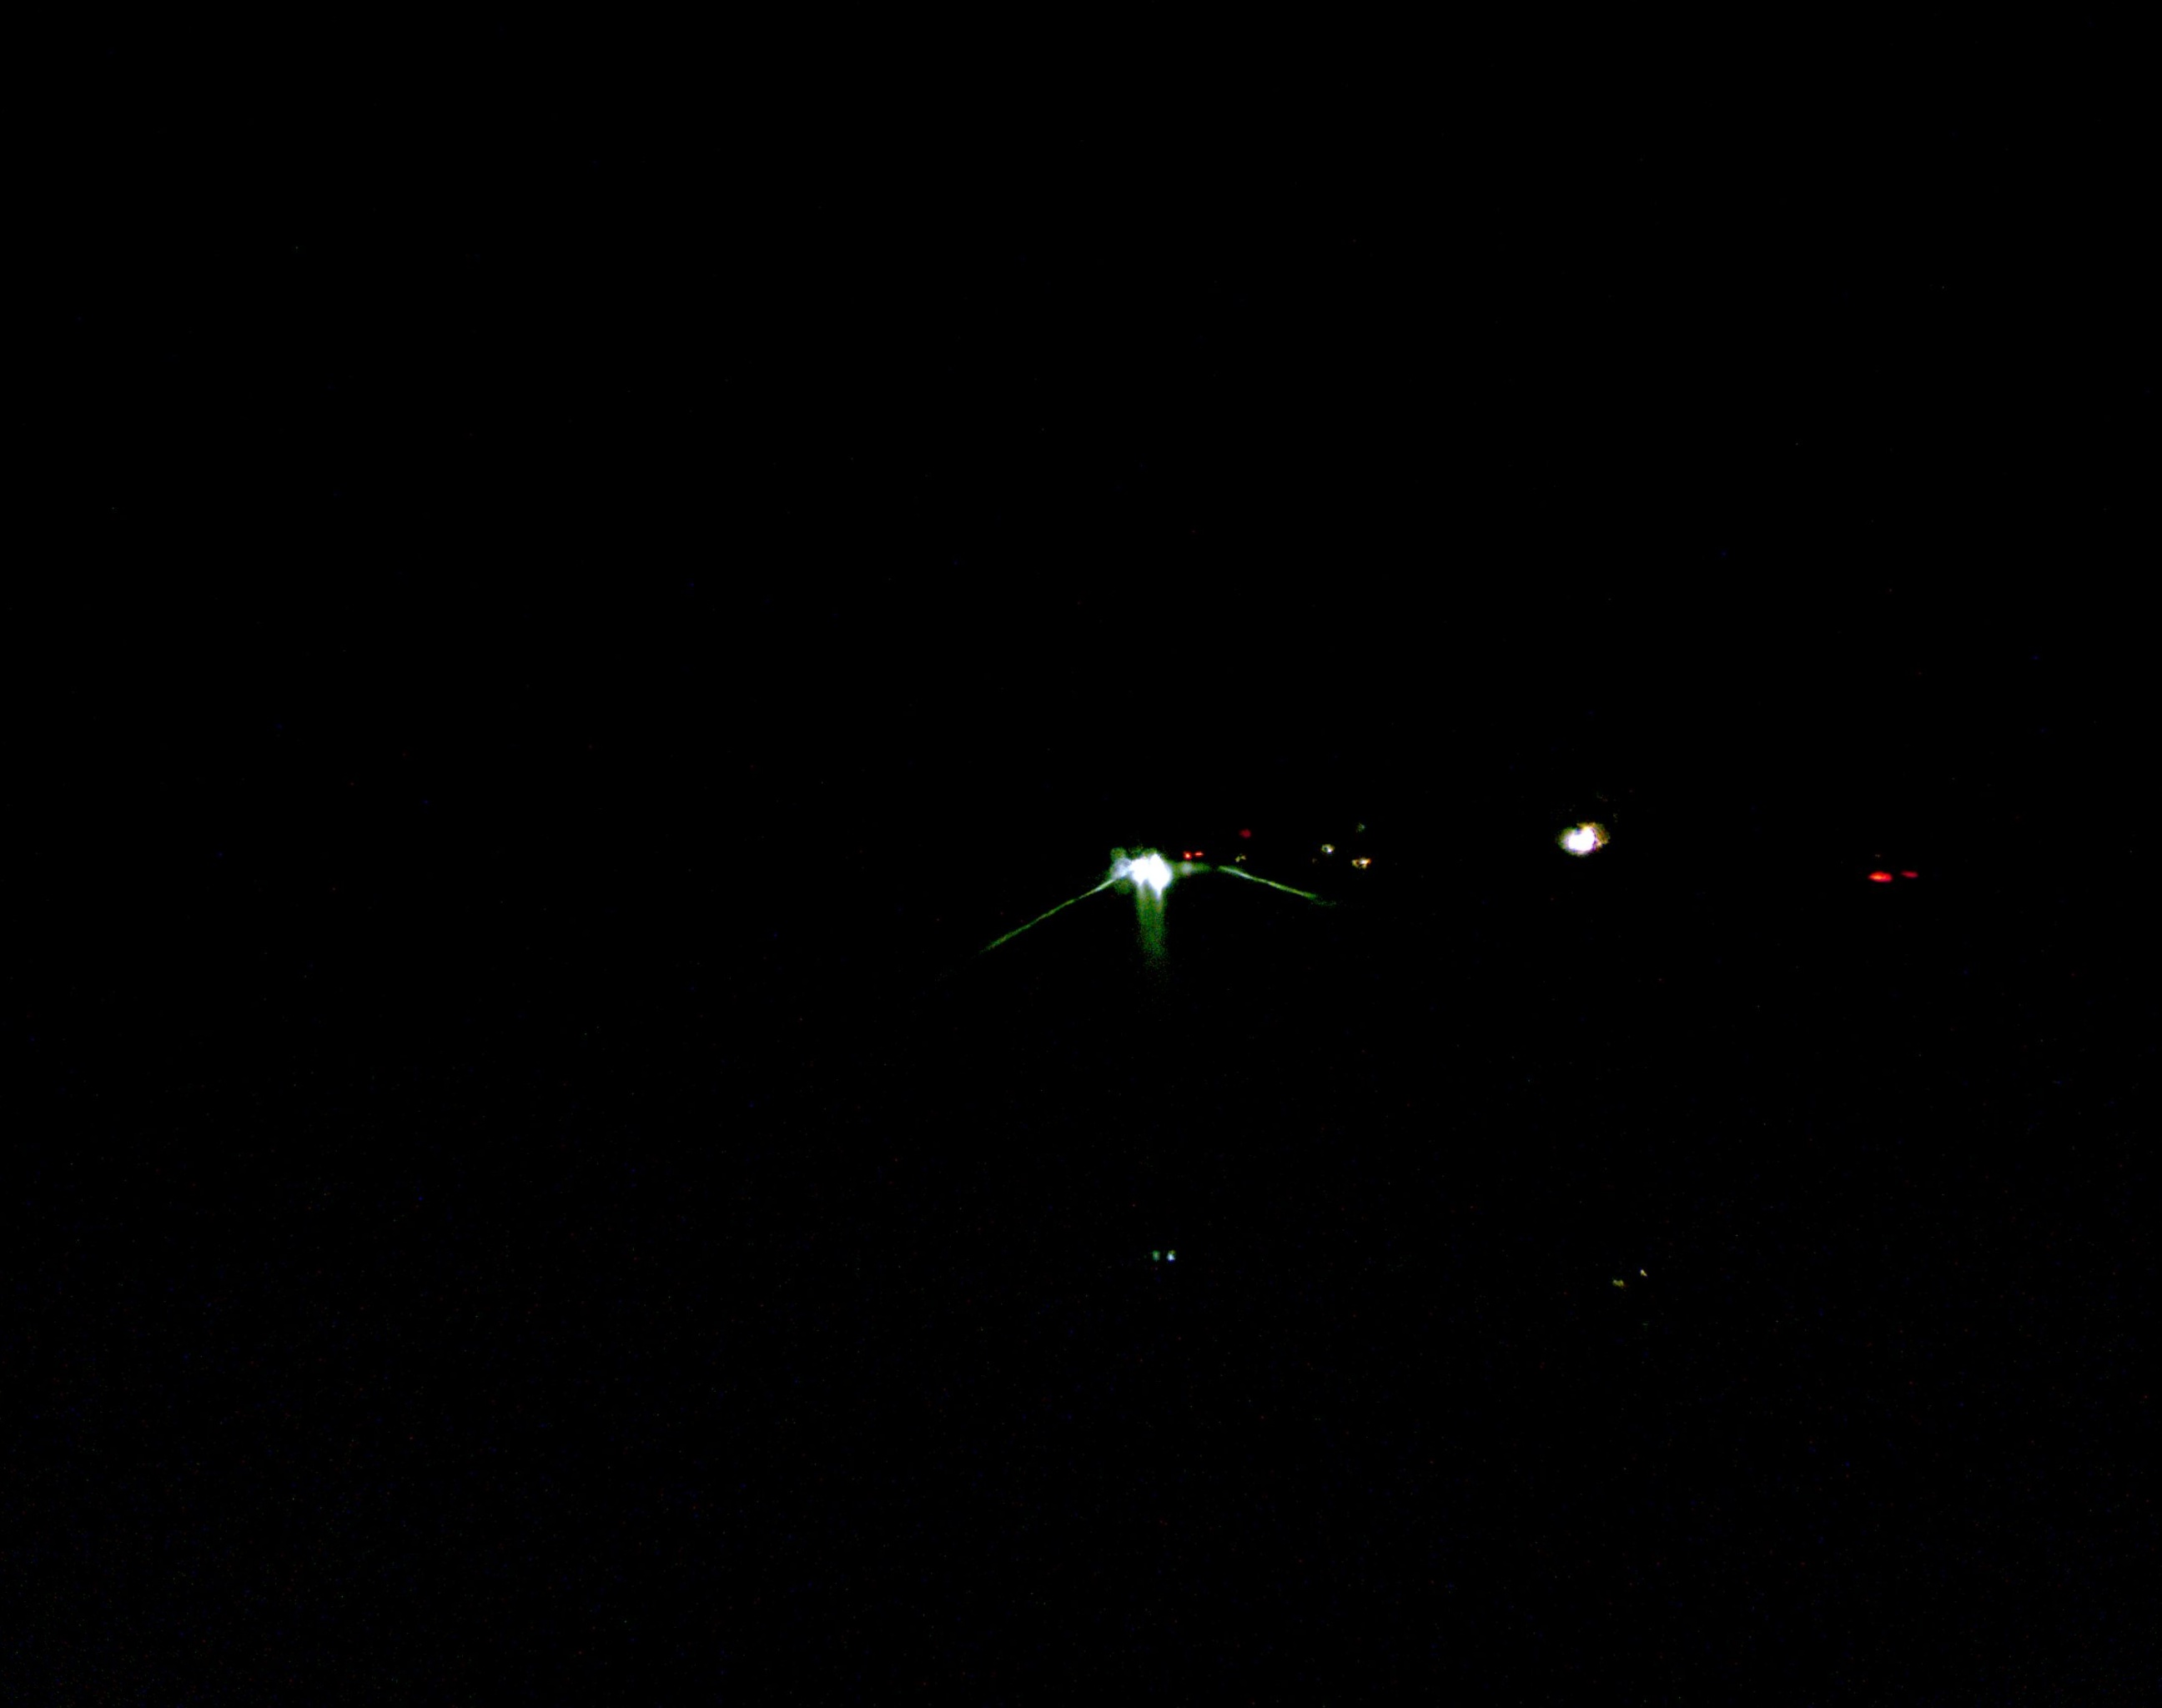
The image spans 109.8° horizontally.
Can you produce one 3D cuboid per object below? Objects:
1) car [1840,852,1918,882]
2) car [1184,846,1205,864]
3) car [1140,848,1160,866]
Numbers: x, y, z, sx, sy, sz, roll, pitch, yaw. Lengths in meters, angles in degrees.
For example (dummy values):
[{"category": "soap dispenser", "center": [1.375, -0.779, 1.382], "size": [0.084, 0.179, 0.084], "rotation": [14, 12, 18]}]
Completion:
[{"category": "car", "center": [45.946, 0.732, 43.846], "size": [1.657, 1.512, 3.453], "rotation": [-3, 1, 19]}, {"category": "car", "center": [10.516, 0.050, 70.809], "size": [1.738, 1.533, 4.001], "rotation": [-3, 1, 7]}, {"category": "car", "center": [7.039, 0.258, 77.370], "size": [1.959, 1.712, 4.001], "rotation": [-2, 0, 5]}]
